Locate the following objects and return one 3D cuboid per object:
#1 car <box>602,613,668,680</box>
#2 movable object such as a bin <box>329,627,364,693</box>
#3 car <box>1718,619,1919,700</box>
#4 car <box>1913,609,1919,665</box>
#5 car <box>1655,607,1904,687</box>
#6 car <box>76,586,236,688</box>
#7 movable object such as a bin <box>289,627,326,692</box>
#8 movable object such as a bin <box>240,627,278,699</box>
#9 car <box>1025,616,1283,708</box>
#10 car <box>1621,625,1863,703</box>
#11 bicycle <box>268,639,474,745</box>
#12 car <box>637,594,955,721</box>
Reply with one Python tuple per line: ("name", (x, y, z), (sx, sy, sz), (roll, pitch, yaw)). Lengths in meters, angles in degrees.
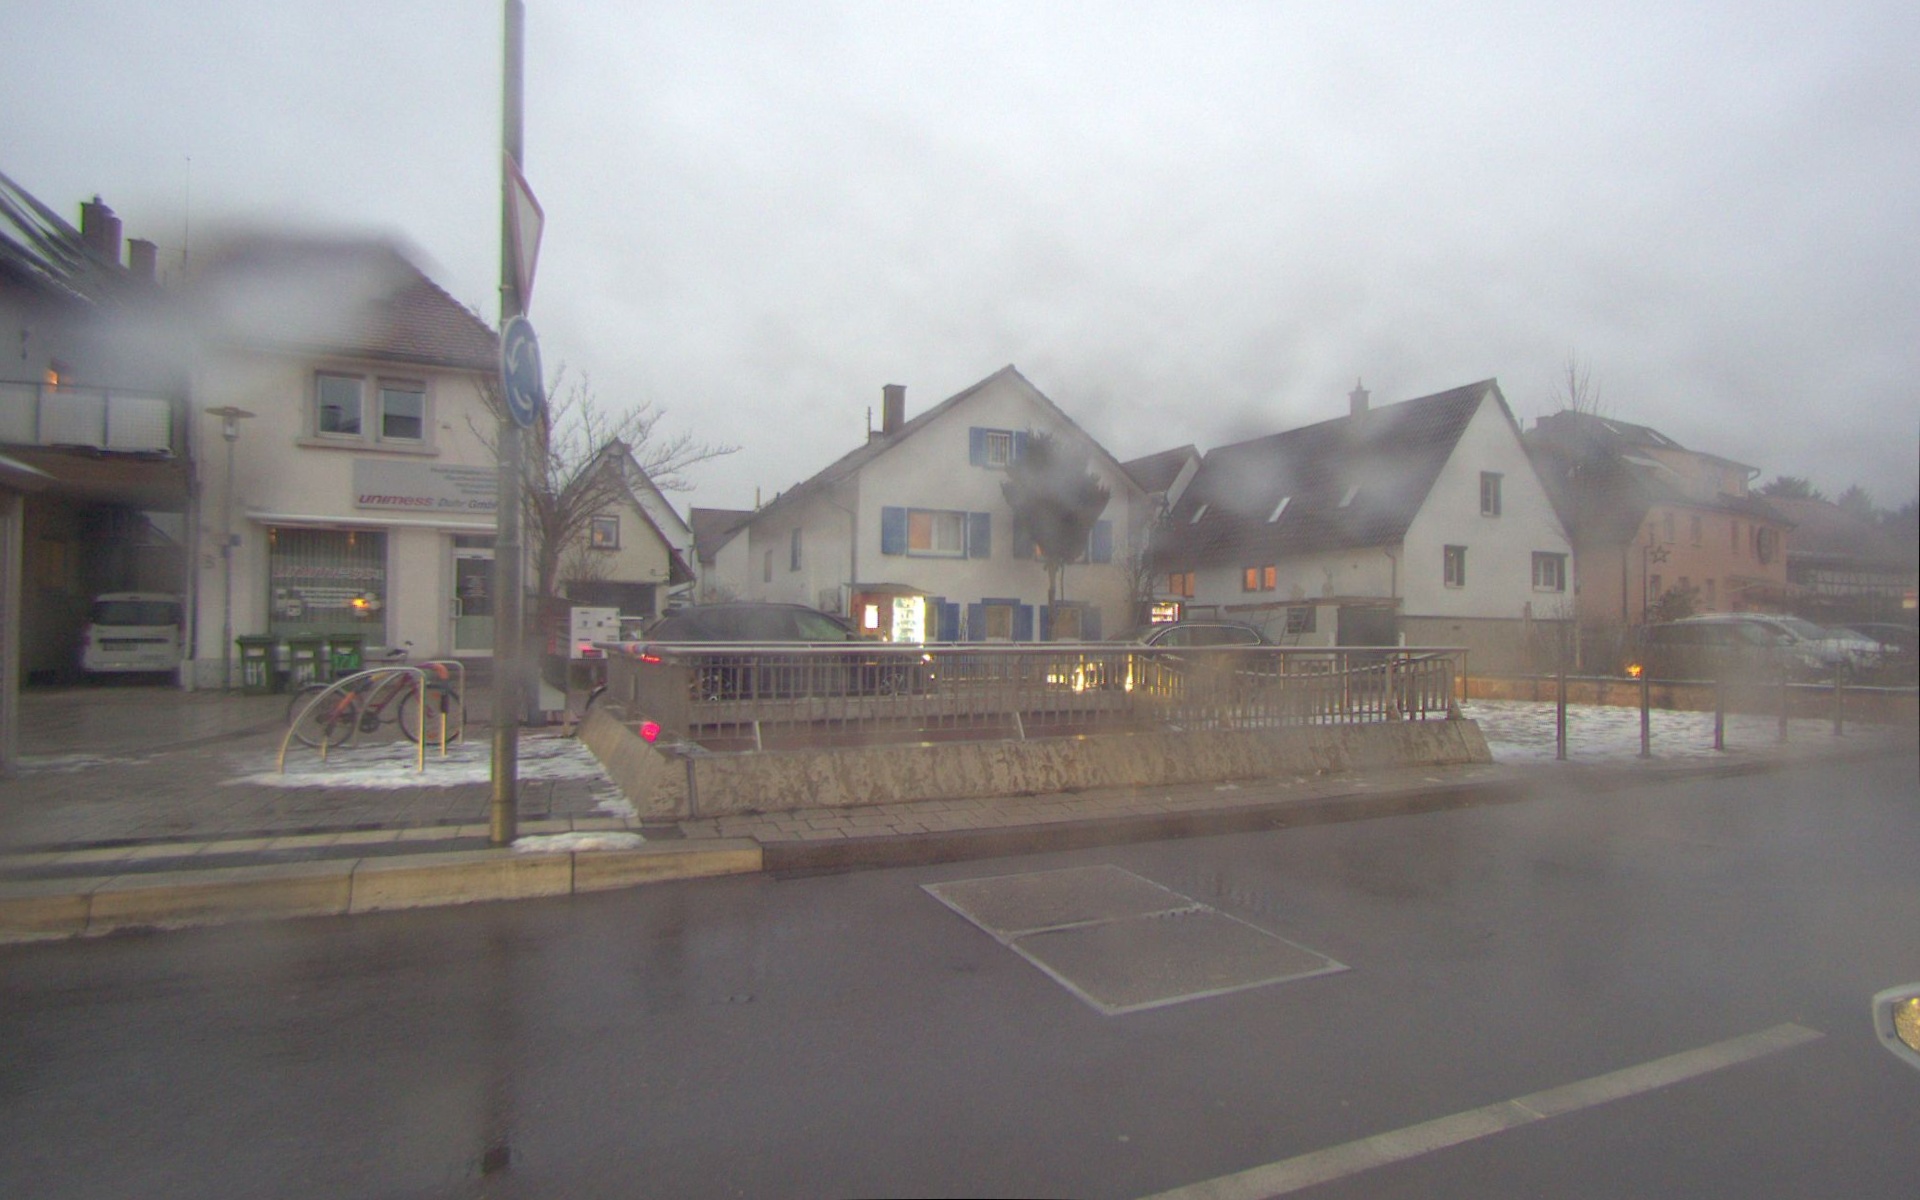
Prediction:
("car", (-10.532, 1.518, 32.386), (1.810, 2.045, 3.566), (0, -3, -21))
("movable object such as a bin", (-11.008, 1.070, 18.018), (0.447, 1.157, 0.286), (3, -1, -25))
("car", (19.763, 1.275, 22.603), (1.566, 1.629, 4.080), (2, -1, -26))
("car", (31.297, 1.149, 29.399), (1.978, 1.689, 4.601), (2, -1, -32))
("car", (17.318, 0.944, 21.432), (1.690, 1.543, 3.785), (2, -1, -23))
("car", (-16.164, 0.740, 20.389), (1.491, 1.877, 3.411), (2, -2, -21))
("movable object such as a bin", (-11.551, 1.054, 17.790), (0.447, 1.135, 0.286), (3, -1, -25))
("movable object such as a bin", (-12.198, 1.090, 17.487), (0.447, 1.225, 0.286), (3, -1, -25))
("car", (3.587, 1.073, 18.422), (4.514, 1.502, 1.796), (0, -3, -28))
("car", (15.216, 1.194, 19.713), (1.582, 1.390, 3.428), (1, -2, -30))
("bicycle", (-5.908, 0.915, 10.157), (1.709, 1.023, 0.470), (1, -1, -14))
("car", (-2.493, 0.842, 15.355), (4.501, 1.723, 1.751), (0, -3, -24))
